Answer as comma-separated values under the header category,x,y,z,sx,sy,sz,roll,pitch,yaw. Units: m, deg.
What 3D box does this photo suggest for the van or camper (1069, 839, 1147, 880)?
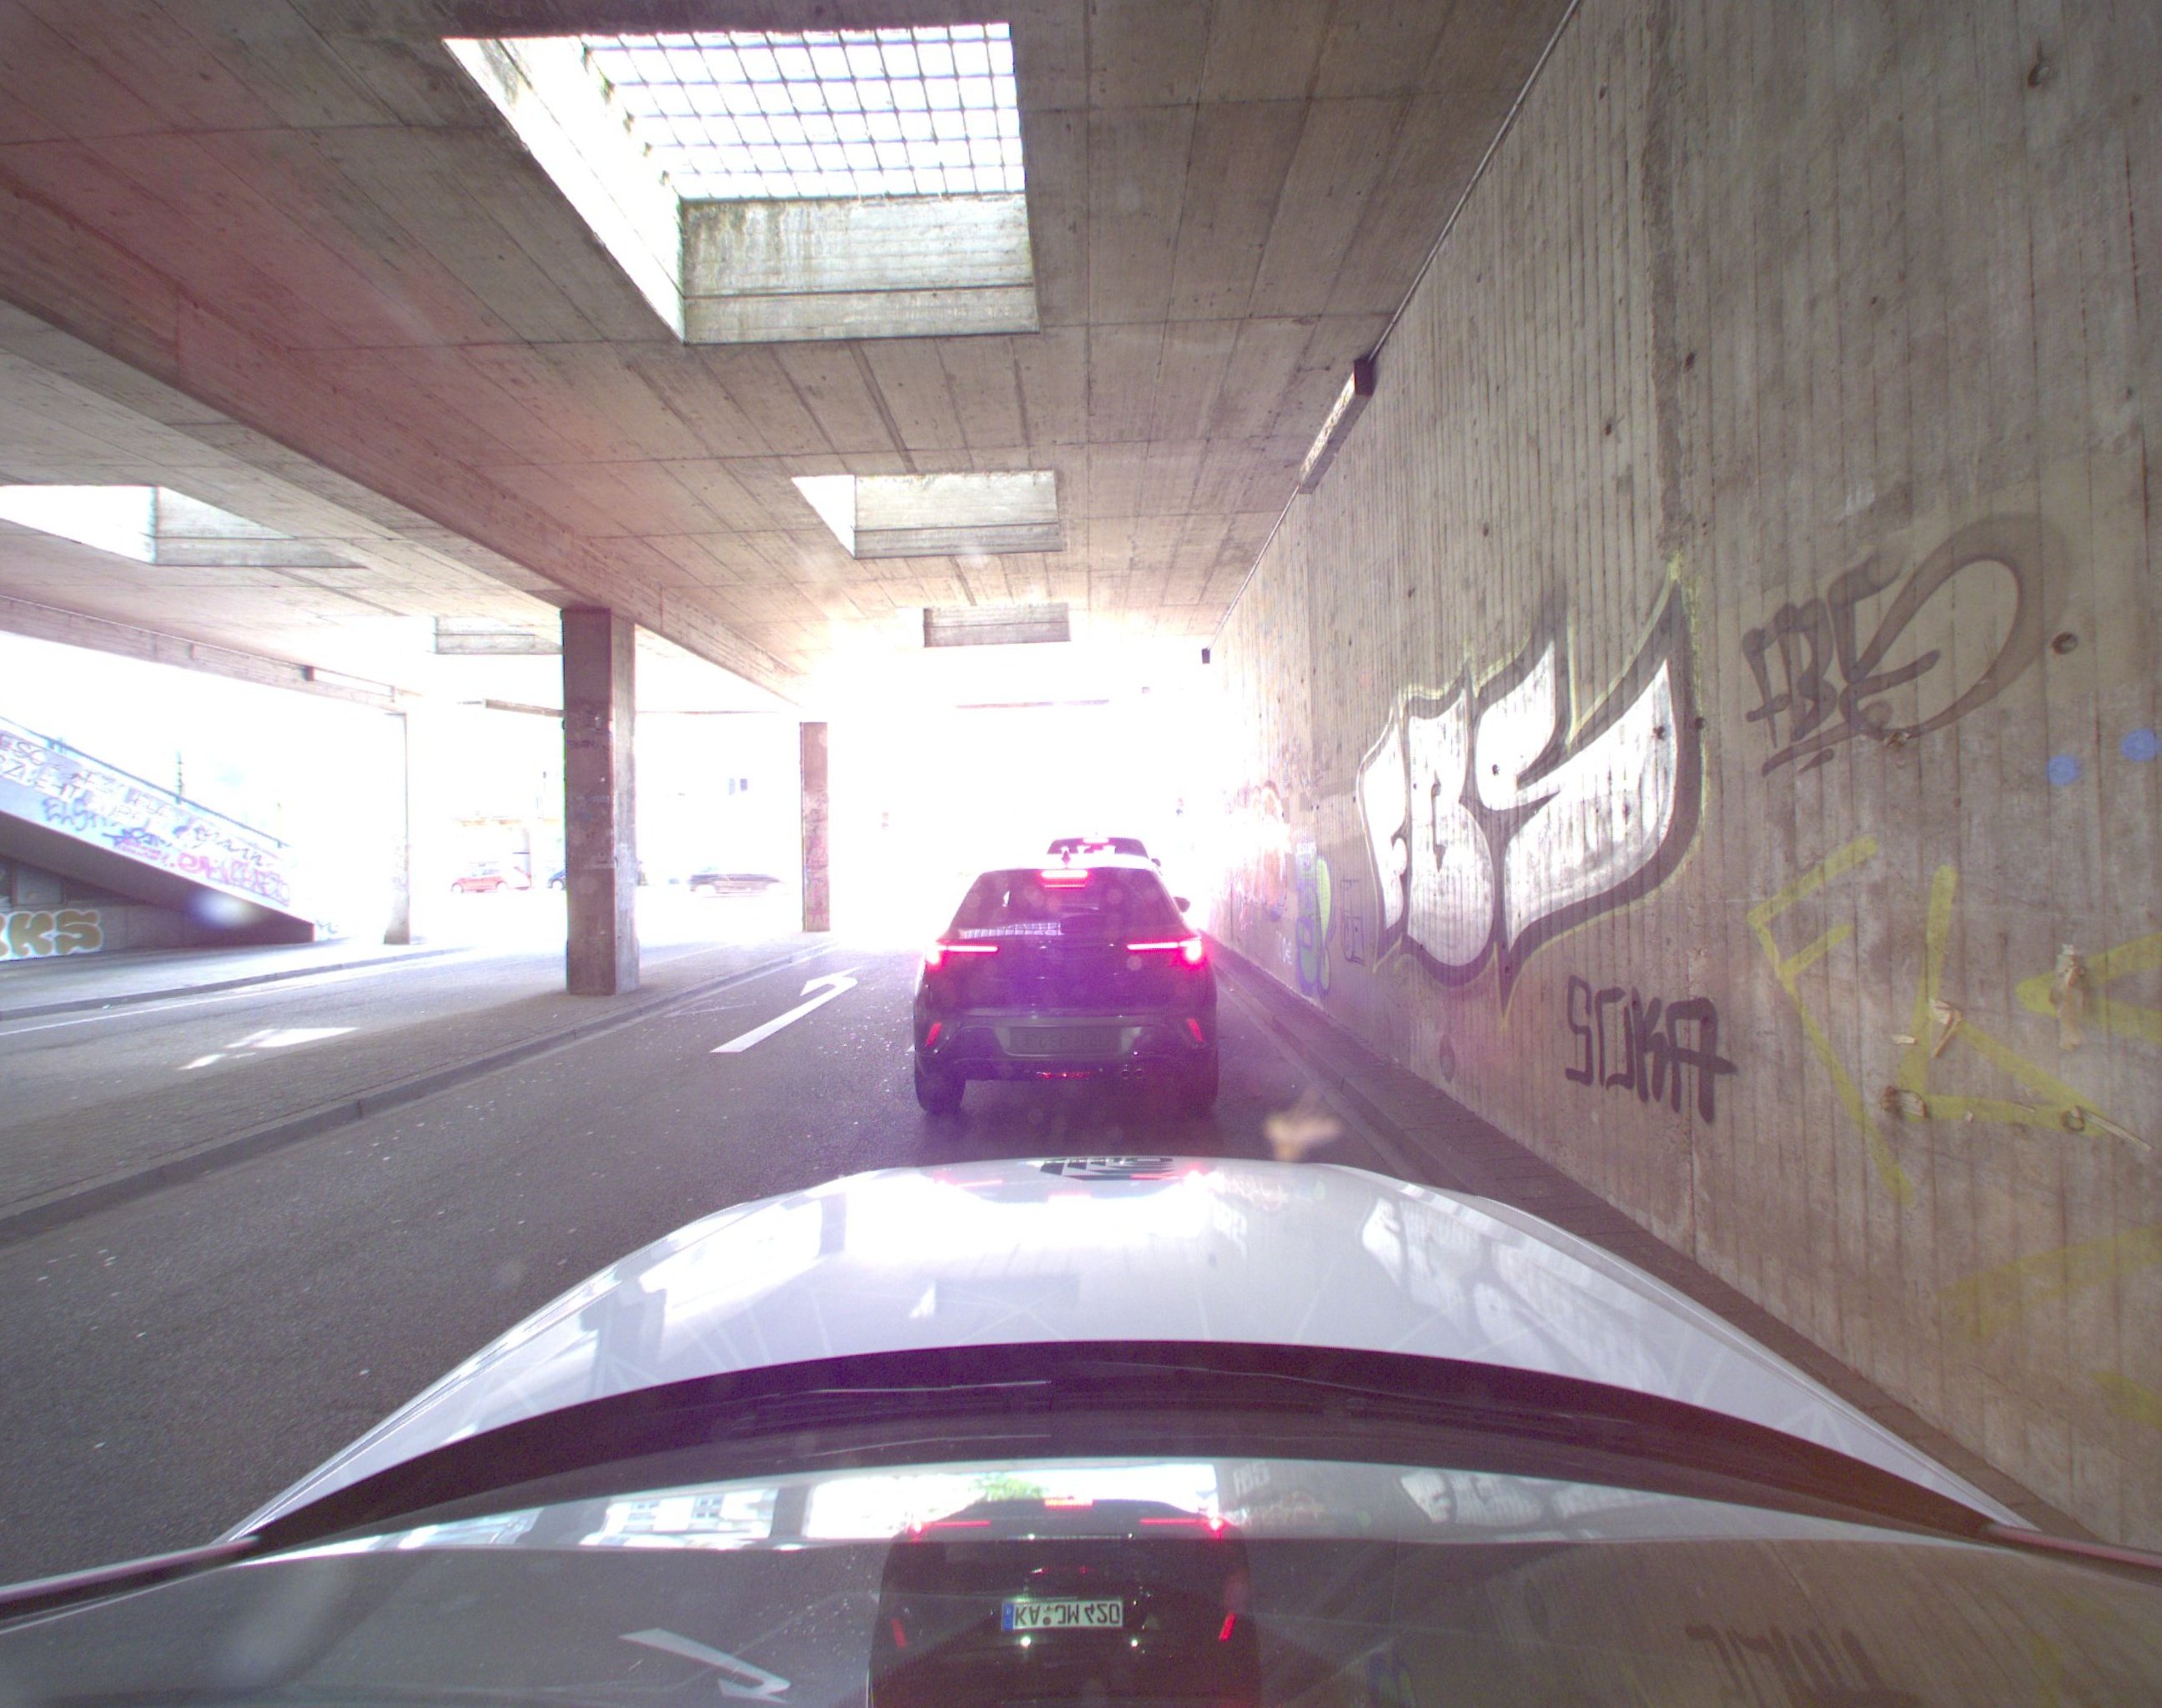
category,x,y,z,sx,sy,sz,roll,pitch,yaw
van or camper,1.472,0.282,43.468,3.854,2.013,2.005,-1,0,9

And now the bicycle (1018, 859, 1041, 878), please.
category,x,y,z,sx,sy,sz,roll,pitch,yaw
bicycle,-3.275,0.893,51.966,0.730,1.130,2.036,-2,0,19

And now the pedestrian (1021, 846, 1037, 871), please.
category,x,y,z,sx,sy,sz,roll,pitch,yaw
pedestrian,-3.286,0.266,51.944,0.729,1.585,0.894,0,-1,18

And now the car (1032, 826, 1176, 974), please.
category,x,y,z,sx,sy,sz,roll,pitch,yaw
car,0.355,0.567,12.153,1.779,1.833,3.962,-1,0,2

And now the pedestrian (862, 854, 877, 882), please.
category,x,y,z,sx,sy,sz,roll,pitch,yaw
pedestrian,-12.958,0.830,49.960,0.618,1.705,0.726,0,-1,15

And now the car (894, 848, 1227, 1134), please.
category,x,y,z,sx,sy,sz,roll,pitch,yaw
car,-0.034,0.718,6.291,1.746,1.498,4.002,0,0,2

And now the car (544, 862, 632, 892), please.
category,x,y,z,sx,sy,sz,roll,pitch,yaw
car,-27.357,1.284,45.288,3.742,1.508,1.752,-2,0,0

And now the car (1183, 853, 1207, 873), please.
category,x,y,z,sx,sy,sz,roll,pitch,yaw
car,9.967,0.727,71.281,1.982,1.641,4.604,-2,0,8

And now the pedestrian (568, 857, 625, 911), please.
category,x,y,z,sx,sy,sz,roll,pitch,yaw
pedestrian,-16.083,0.980,27.038,1.103,1.737,1.146,-1,0,15

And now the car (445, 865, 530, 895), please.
category,x,y,z,sx,sy,sz,roll,pitch,yaw
car,-32.841,1.434,45.128,3.519,1.506,1.563,-1,0,2

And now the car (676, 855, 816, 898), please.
category,x,y,z,sx,sy,sz,roll,pitch,yaw
car,-13.277,0.878,32.459,4.696,1.534,2.003,-1,0,5
